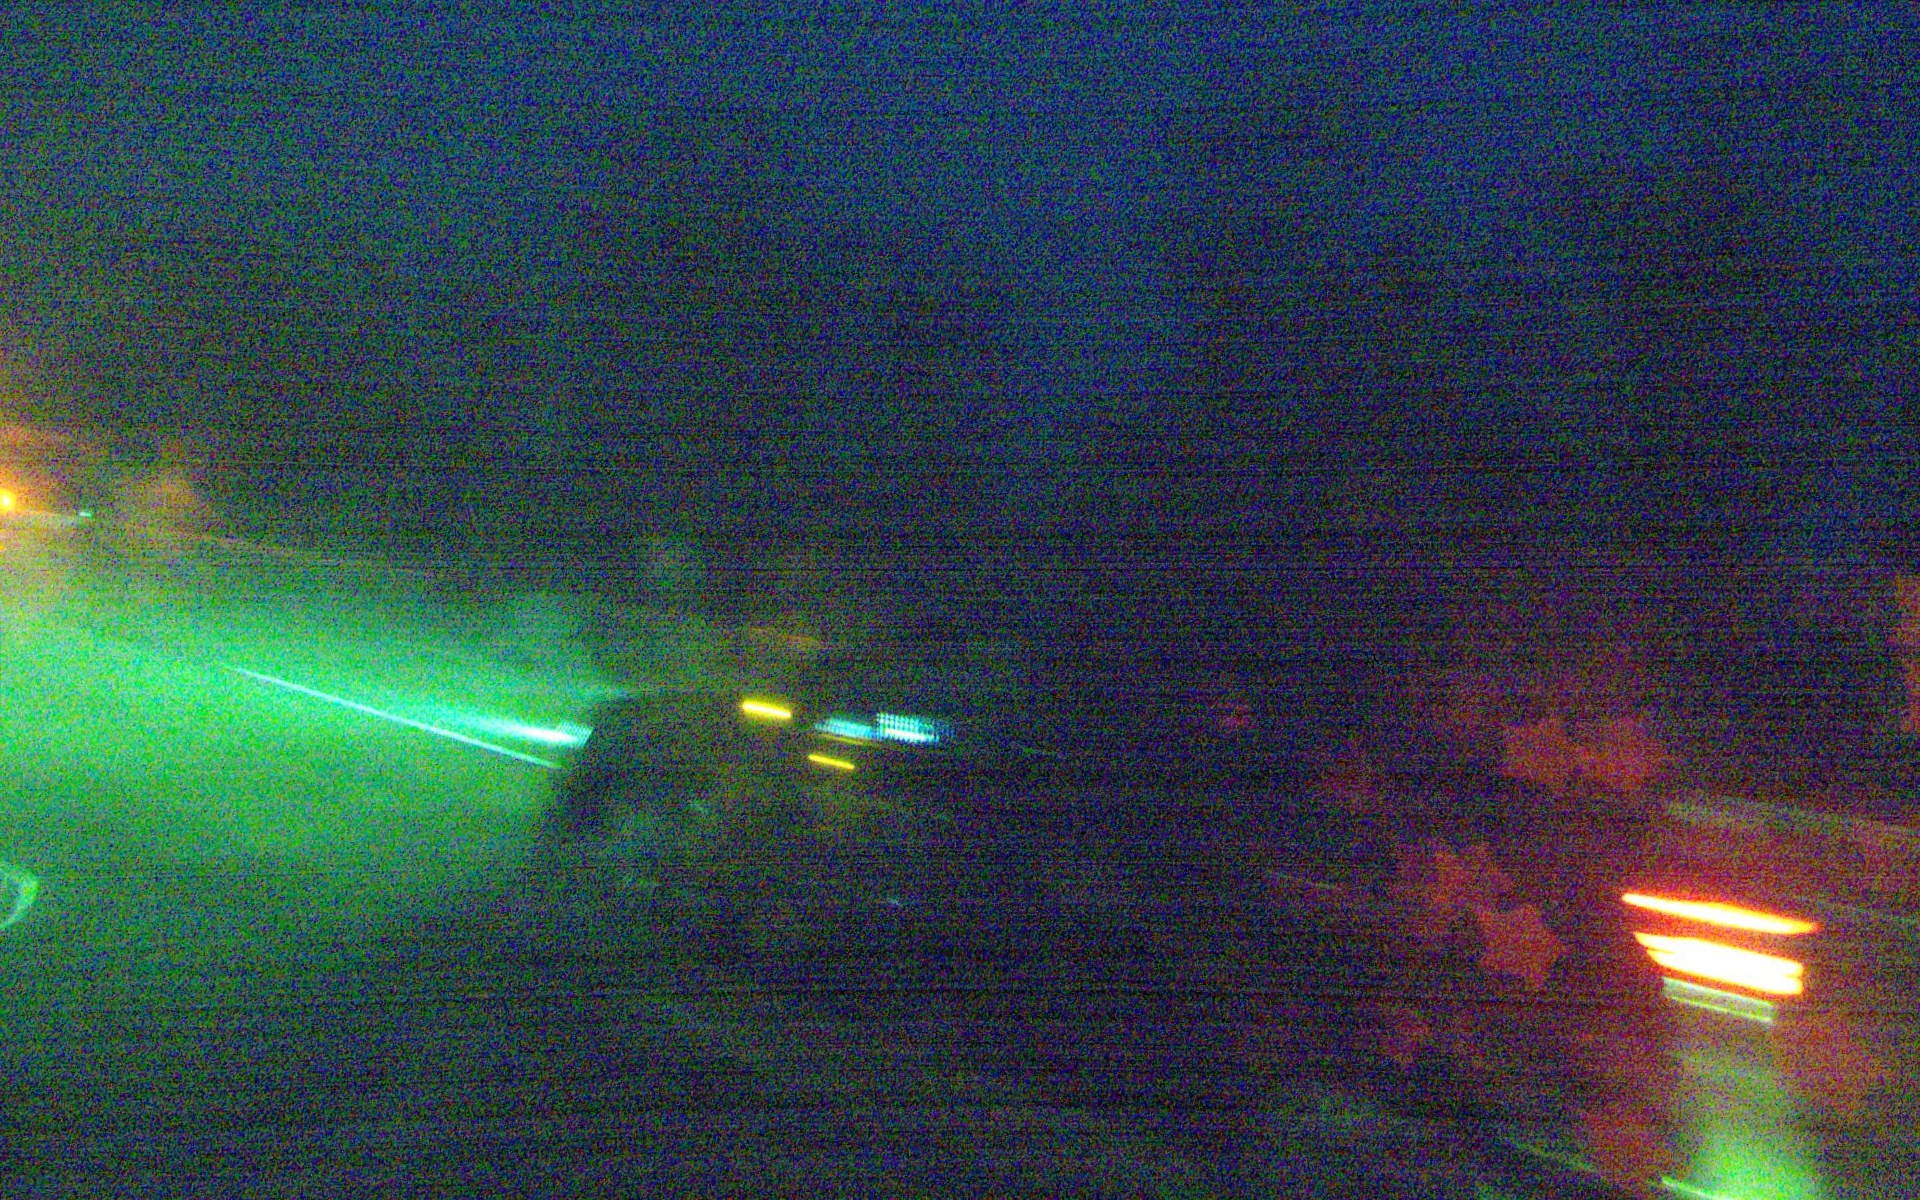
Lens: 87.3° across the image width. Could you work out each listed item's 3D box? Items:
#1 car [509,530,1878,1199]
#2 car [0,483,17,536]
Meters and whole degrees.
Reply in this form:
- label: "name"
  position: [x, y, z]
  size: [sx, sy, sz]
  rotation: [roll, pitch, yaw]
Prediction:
- label: "car"
  position: [0.466, 0.832, 3.540]
  size: [3.616, 1.643, 1.847]
  rotation: [7, -1, 30]
- label: "car"
  position: [-40.476, -3.908, 40.915]
  size: [5.365, 2.038, 2.063]
  rotation: [7, -1, 37]
